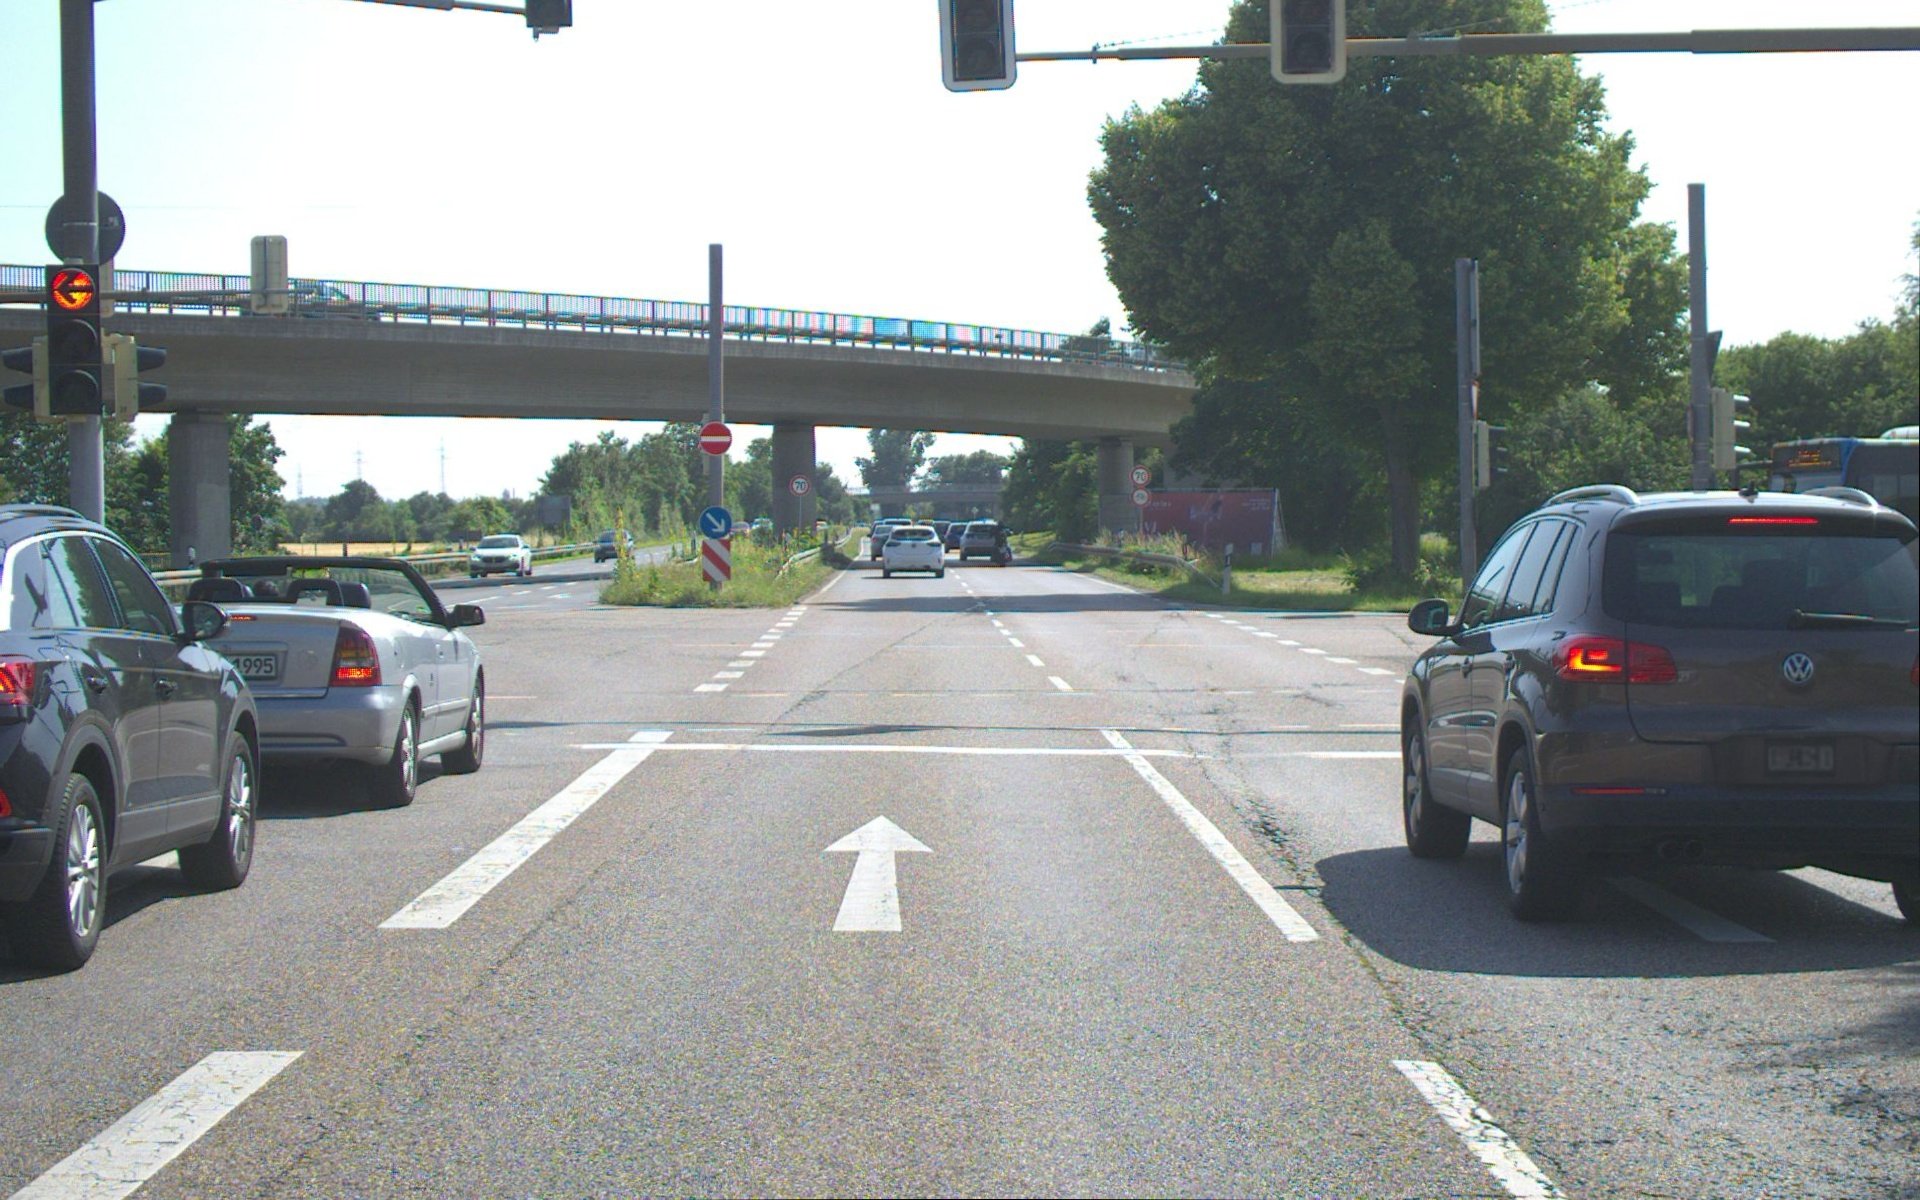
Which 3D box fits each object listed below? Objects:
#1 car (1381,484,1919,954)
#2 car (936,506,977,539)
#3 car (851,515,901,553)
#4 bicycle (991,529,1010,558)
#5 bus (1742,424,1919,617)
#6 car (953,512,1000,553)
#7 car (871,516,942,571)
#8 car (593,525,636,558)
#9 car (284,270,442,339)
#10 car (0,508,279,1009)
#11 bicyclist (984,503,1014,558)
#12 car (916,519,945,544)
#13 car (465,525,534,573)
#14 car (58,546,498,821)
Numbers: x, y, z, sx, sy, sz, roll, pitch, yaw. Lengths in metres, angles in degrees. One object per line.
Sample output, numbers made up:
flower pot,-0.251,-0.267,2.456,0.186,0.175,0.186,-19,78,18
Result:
car,2.952,0.388,14.350,1.755,1.650,4.147,1,1,-1
car,-0.202,-4.033,179.008,1.993,1.626,4.000,2,0,-1
car,-3.363,-2.667,138.565,1.873,1.487,4.000,0,1,1
bicycle,1.409,-1.956,119.331,0.600,0.979,2.361,-1,1,0
bus,18.450,-1.345,54.165,11.935,2.867,2.943,-1,1,-15
car,0.704,-2.834,143.182,1.873,1.634,4.000,1,1,1
car,-1.478,-1.594,95.663,1.851,1.456,4.000,1,1,1
car,-16.338,-2.766,162.510,1.614,1.437,3.776,-3,1,-1
car,-15.789,-7.799,91.079,1.997,1.481,3.993,2,1,30
car,-3.766,0.435,12.644,1.728,1.542,4.098,0,2,0
bicyclist,1.368,-2.409,119.467,1.007,1.880,1.327,-1,1,1
car,-2.037,-4.735,238.270,1.993,1.650,4.000,2,0,0
car,-15.901,-1.785,118.883,1.882,1.510,4.148,-3,1,-2
car,-3.700,0.388,19.312,1.673,1.330,4.098,0,2,0
